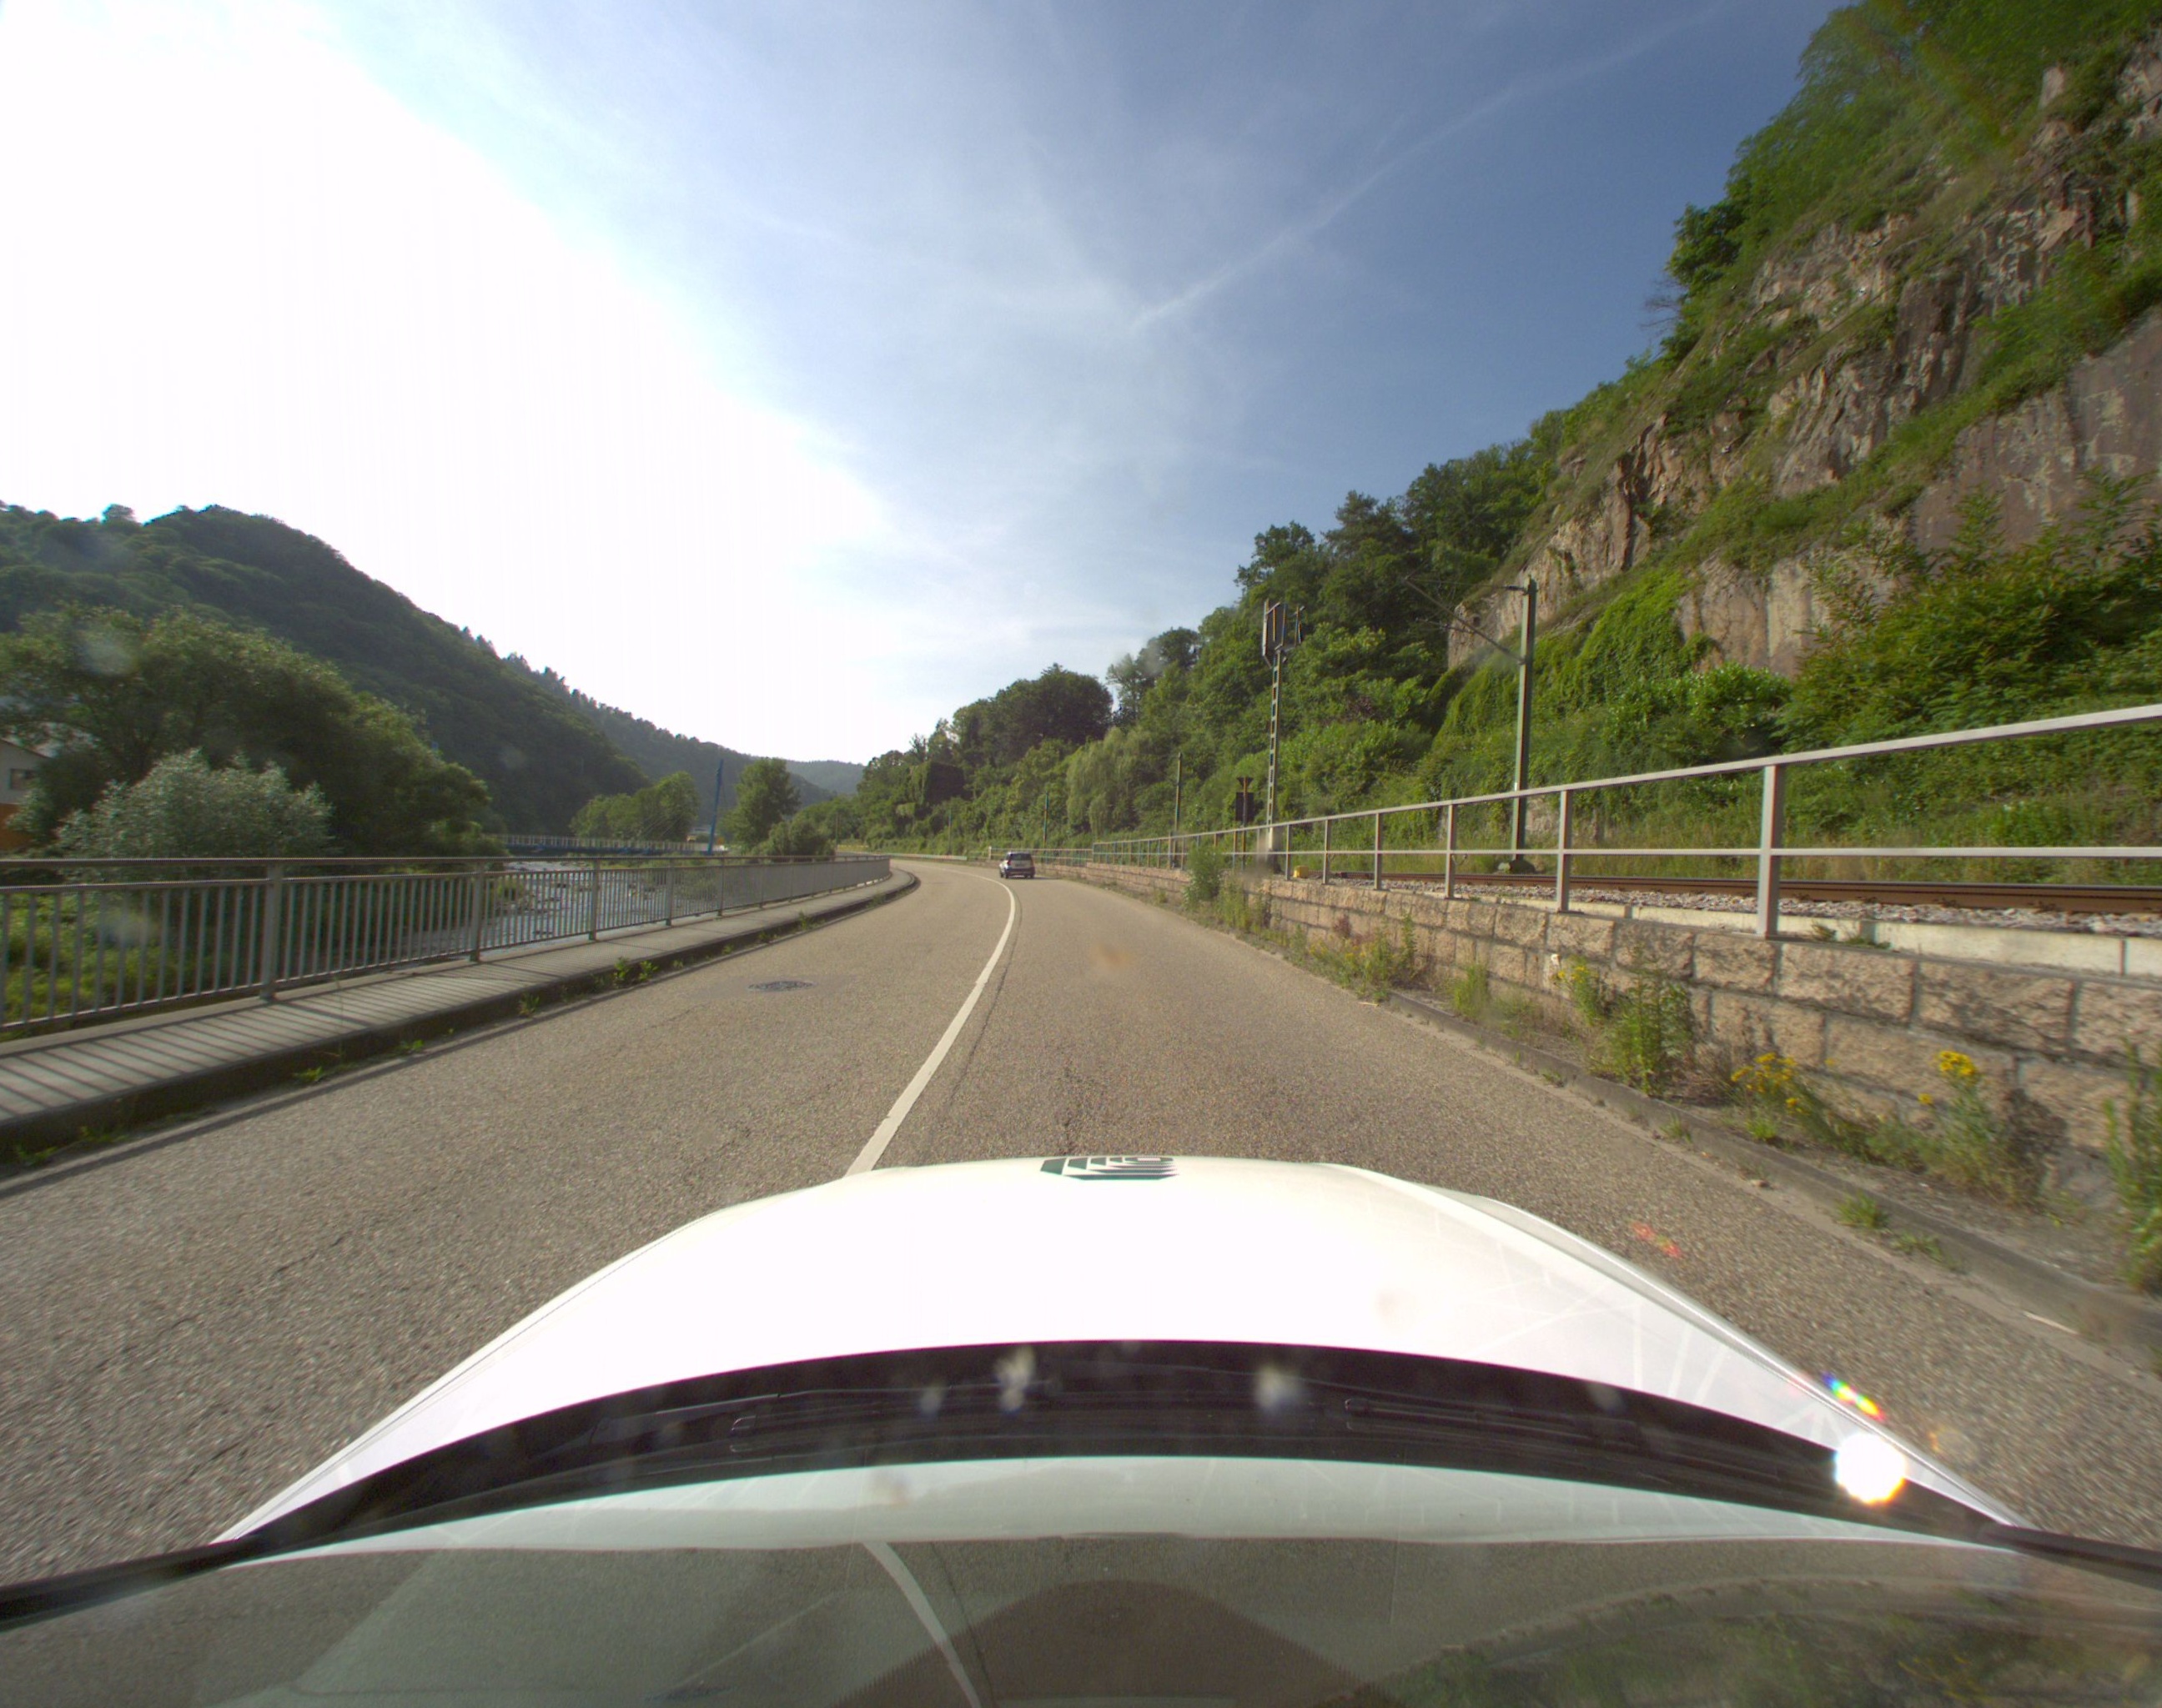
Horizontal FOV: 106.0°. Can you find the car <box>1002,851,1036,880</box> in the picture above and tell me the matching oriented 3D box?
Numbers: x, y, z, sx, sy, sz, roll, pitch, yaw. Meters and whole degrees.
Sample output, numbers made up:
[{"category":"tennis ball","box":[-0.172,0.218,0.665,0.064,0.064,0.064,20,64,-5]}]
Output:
[{"category":"car","box":[-3.815,0.673,49.805,1.871,1.656,3.989,0,0,-8]}]
